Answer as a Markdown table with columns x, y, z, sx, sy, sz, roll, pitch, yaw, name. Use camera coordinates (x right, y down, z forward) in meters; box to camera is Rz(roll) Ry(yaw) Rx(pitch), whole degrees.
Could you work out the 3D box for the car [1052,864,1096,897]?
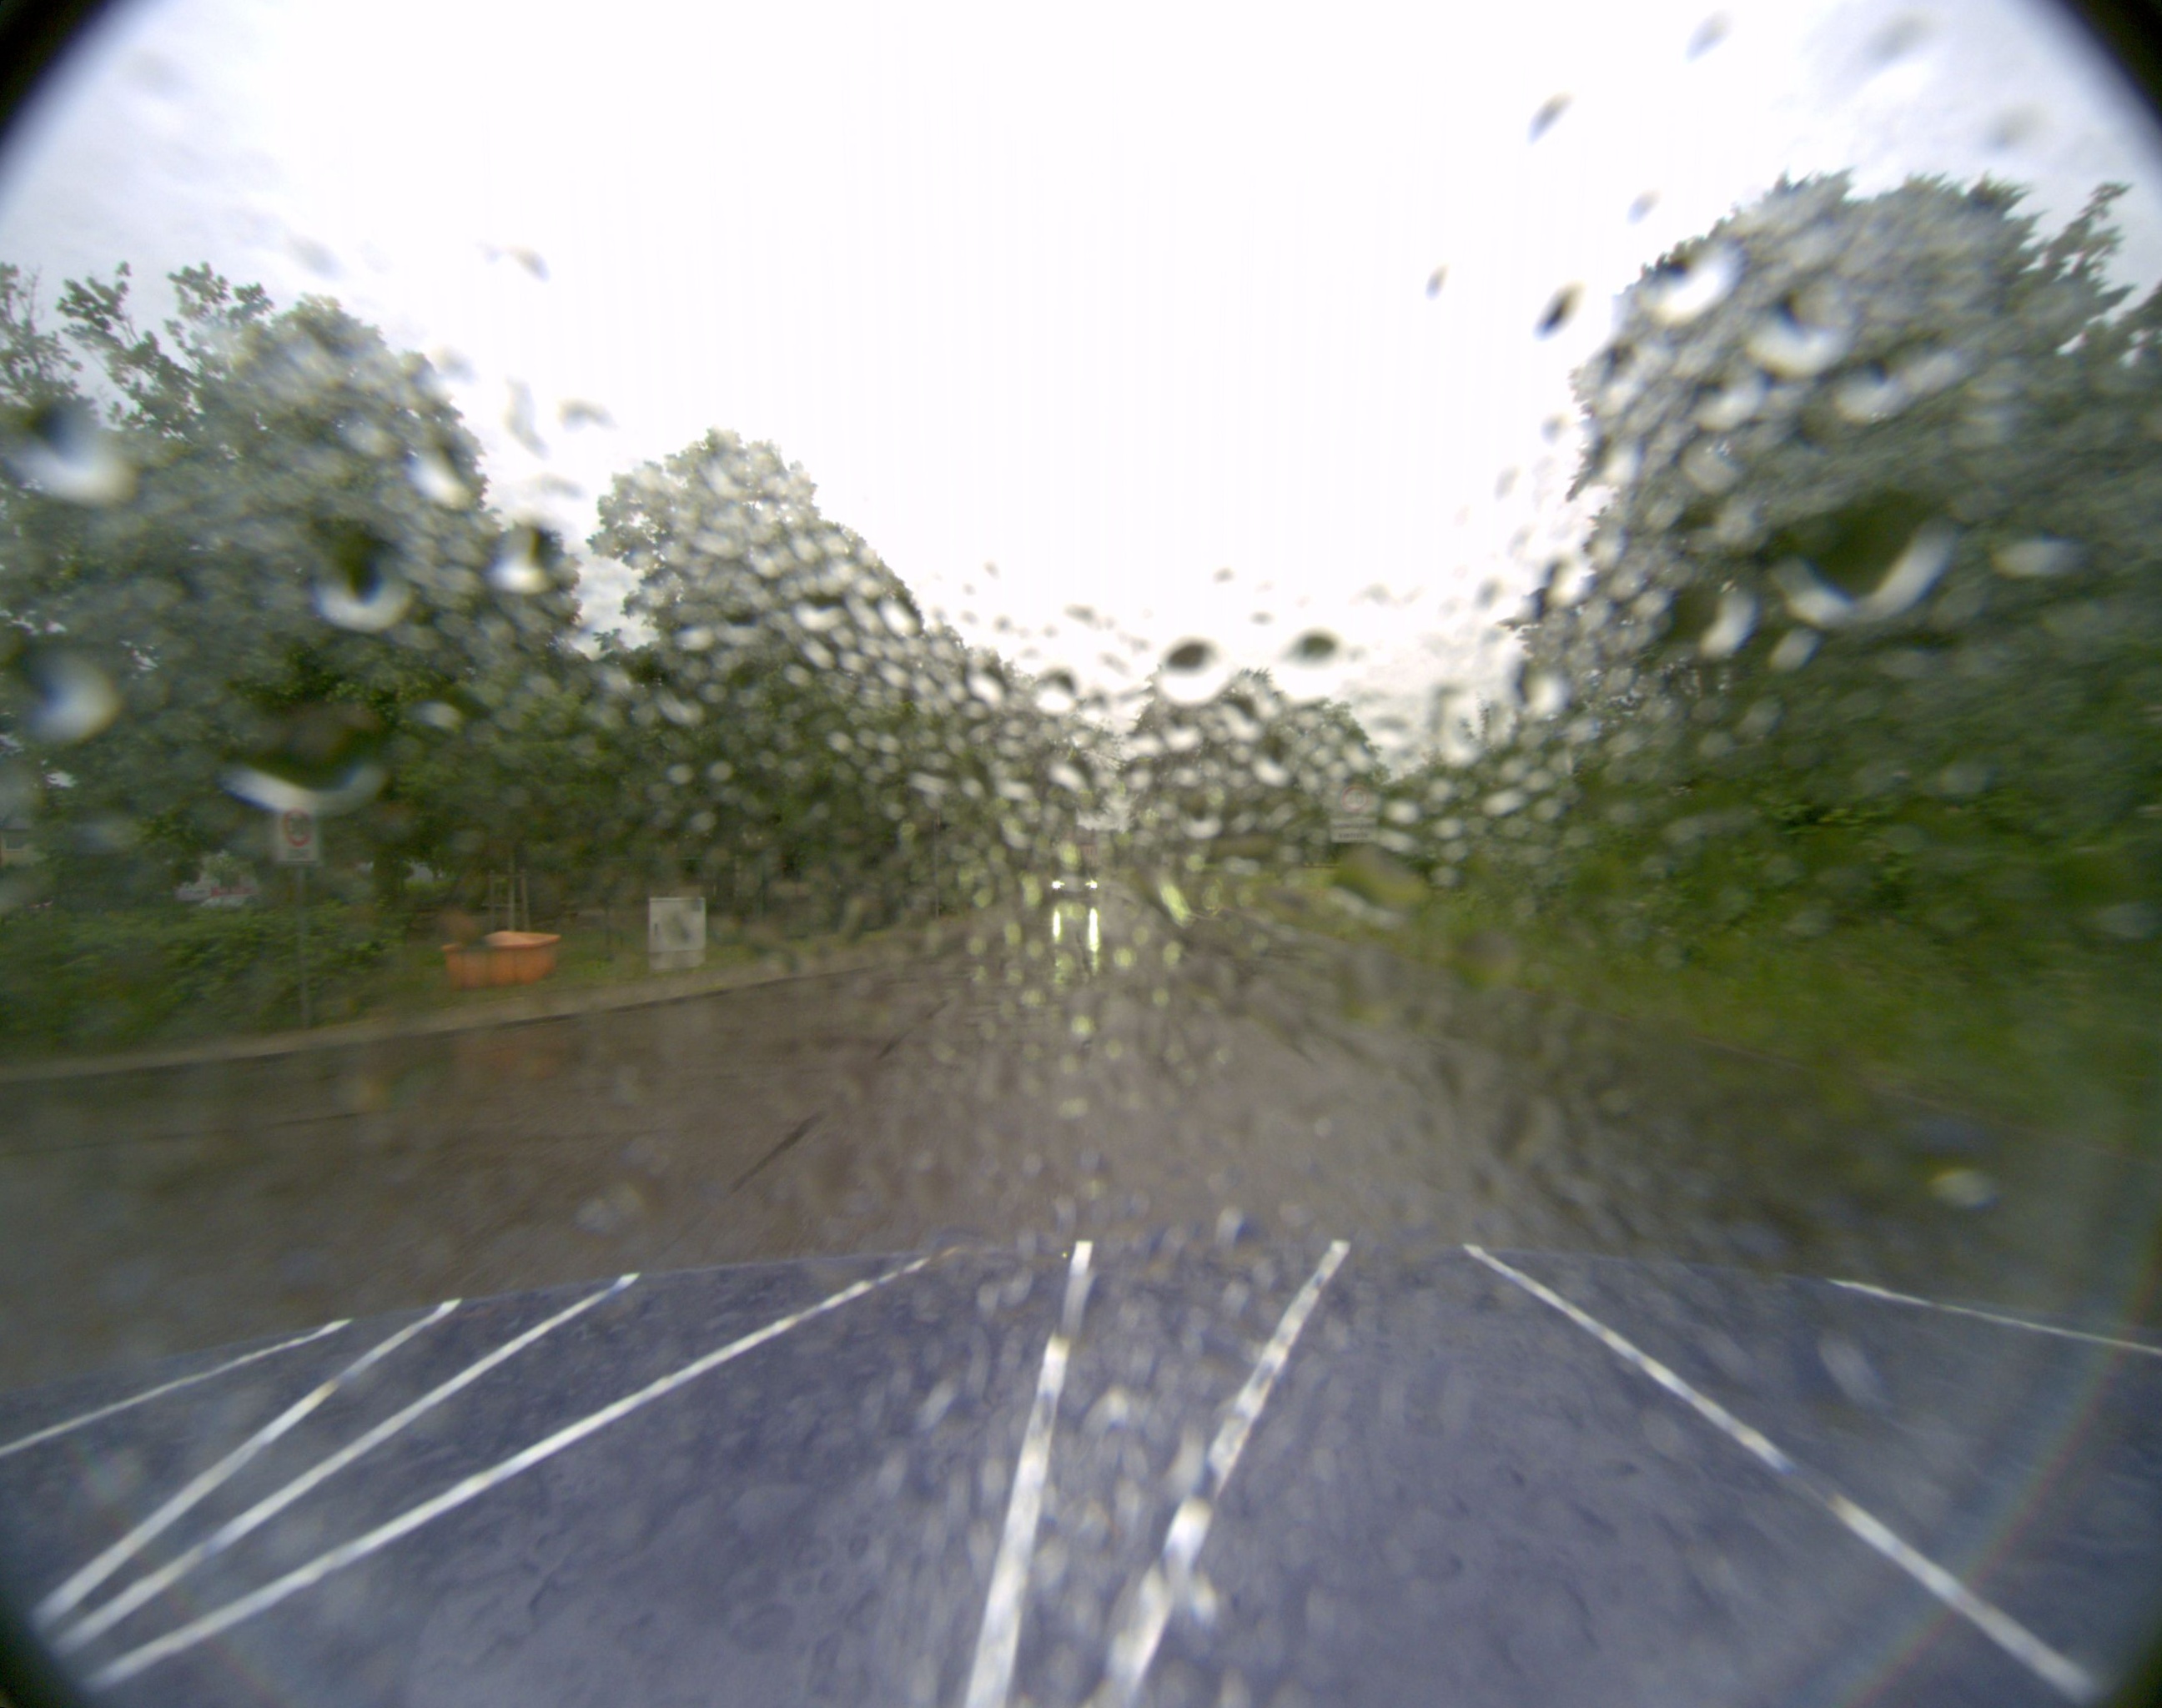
| x | y | z | sx | sy | sz | roll | pitch | yaw | name |
| --- | --- | --- | --- | --- | --- | --- | --- | --- | --- |
| -0.341 | 1.086 | 31.751 | 1.667 | 1.290 | 3.518 | -1 | -1 | -3 | car |
